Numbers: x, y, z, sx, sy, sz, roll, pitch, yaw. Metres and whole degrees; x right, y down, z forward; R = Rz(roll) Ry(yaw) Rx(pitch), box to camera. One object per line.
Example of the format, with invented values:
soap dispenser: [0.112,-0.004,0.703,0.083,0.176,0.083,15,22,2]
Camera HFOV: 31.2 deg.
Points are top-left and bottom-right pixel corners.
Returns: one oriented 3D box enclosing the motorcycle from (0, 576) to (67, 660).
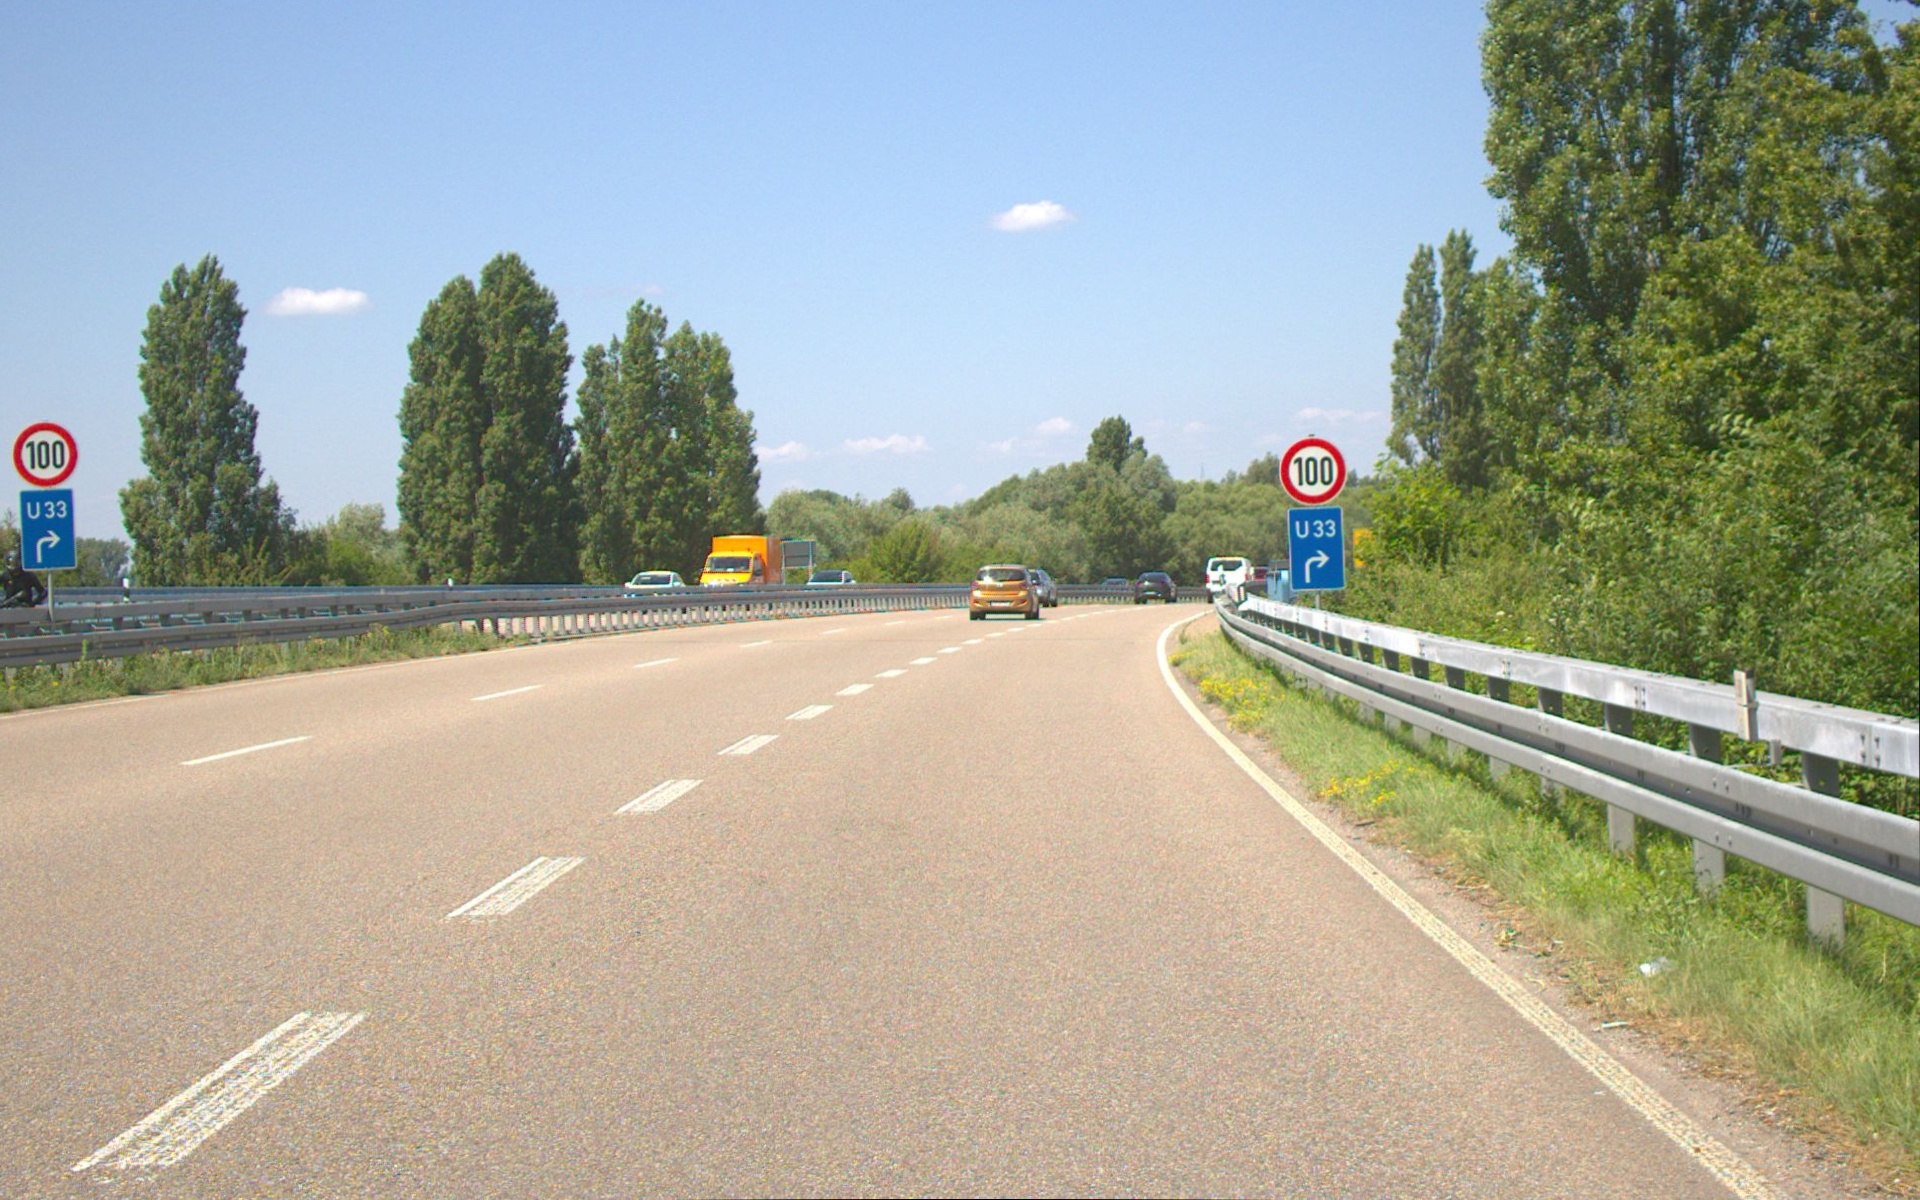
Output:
motorcycle: [-13.207,0.262,47.966,0.791,1.140,2.529,-1,0,1]

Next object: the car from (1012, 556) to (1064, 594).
car: [3.086,-1.006,134.849,1.841,1.446,4.000,0,1,4]

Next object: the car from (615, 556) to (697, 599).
car: [-10.519,-0.799,119.136,1.853,1.427,4.794,-1,1,7]

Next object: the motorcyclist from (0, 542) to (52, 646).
motorcyclist: [-13.204,-0.077,48.057,0.791,1.429,0.767,-1,0,1]

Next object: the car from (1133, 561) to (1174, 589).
car: [10.325,-1.337,182.991,1.944,1.459,3.999,0,1,7]

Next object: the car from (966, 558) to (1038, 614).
car: [1.150,-0.399,92.651,1.841,1.459,4.000,0,1,2]

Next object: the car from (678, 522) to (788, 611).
car: [-8.718,-1.308,132.952,2.306,3.280,7.024,-1,1,12]

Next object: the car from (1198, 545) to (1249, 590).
car: [11.263,-1.403,146.912,1.842,1.889,3.999,0,1,9]
